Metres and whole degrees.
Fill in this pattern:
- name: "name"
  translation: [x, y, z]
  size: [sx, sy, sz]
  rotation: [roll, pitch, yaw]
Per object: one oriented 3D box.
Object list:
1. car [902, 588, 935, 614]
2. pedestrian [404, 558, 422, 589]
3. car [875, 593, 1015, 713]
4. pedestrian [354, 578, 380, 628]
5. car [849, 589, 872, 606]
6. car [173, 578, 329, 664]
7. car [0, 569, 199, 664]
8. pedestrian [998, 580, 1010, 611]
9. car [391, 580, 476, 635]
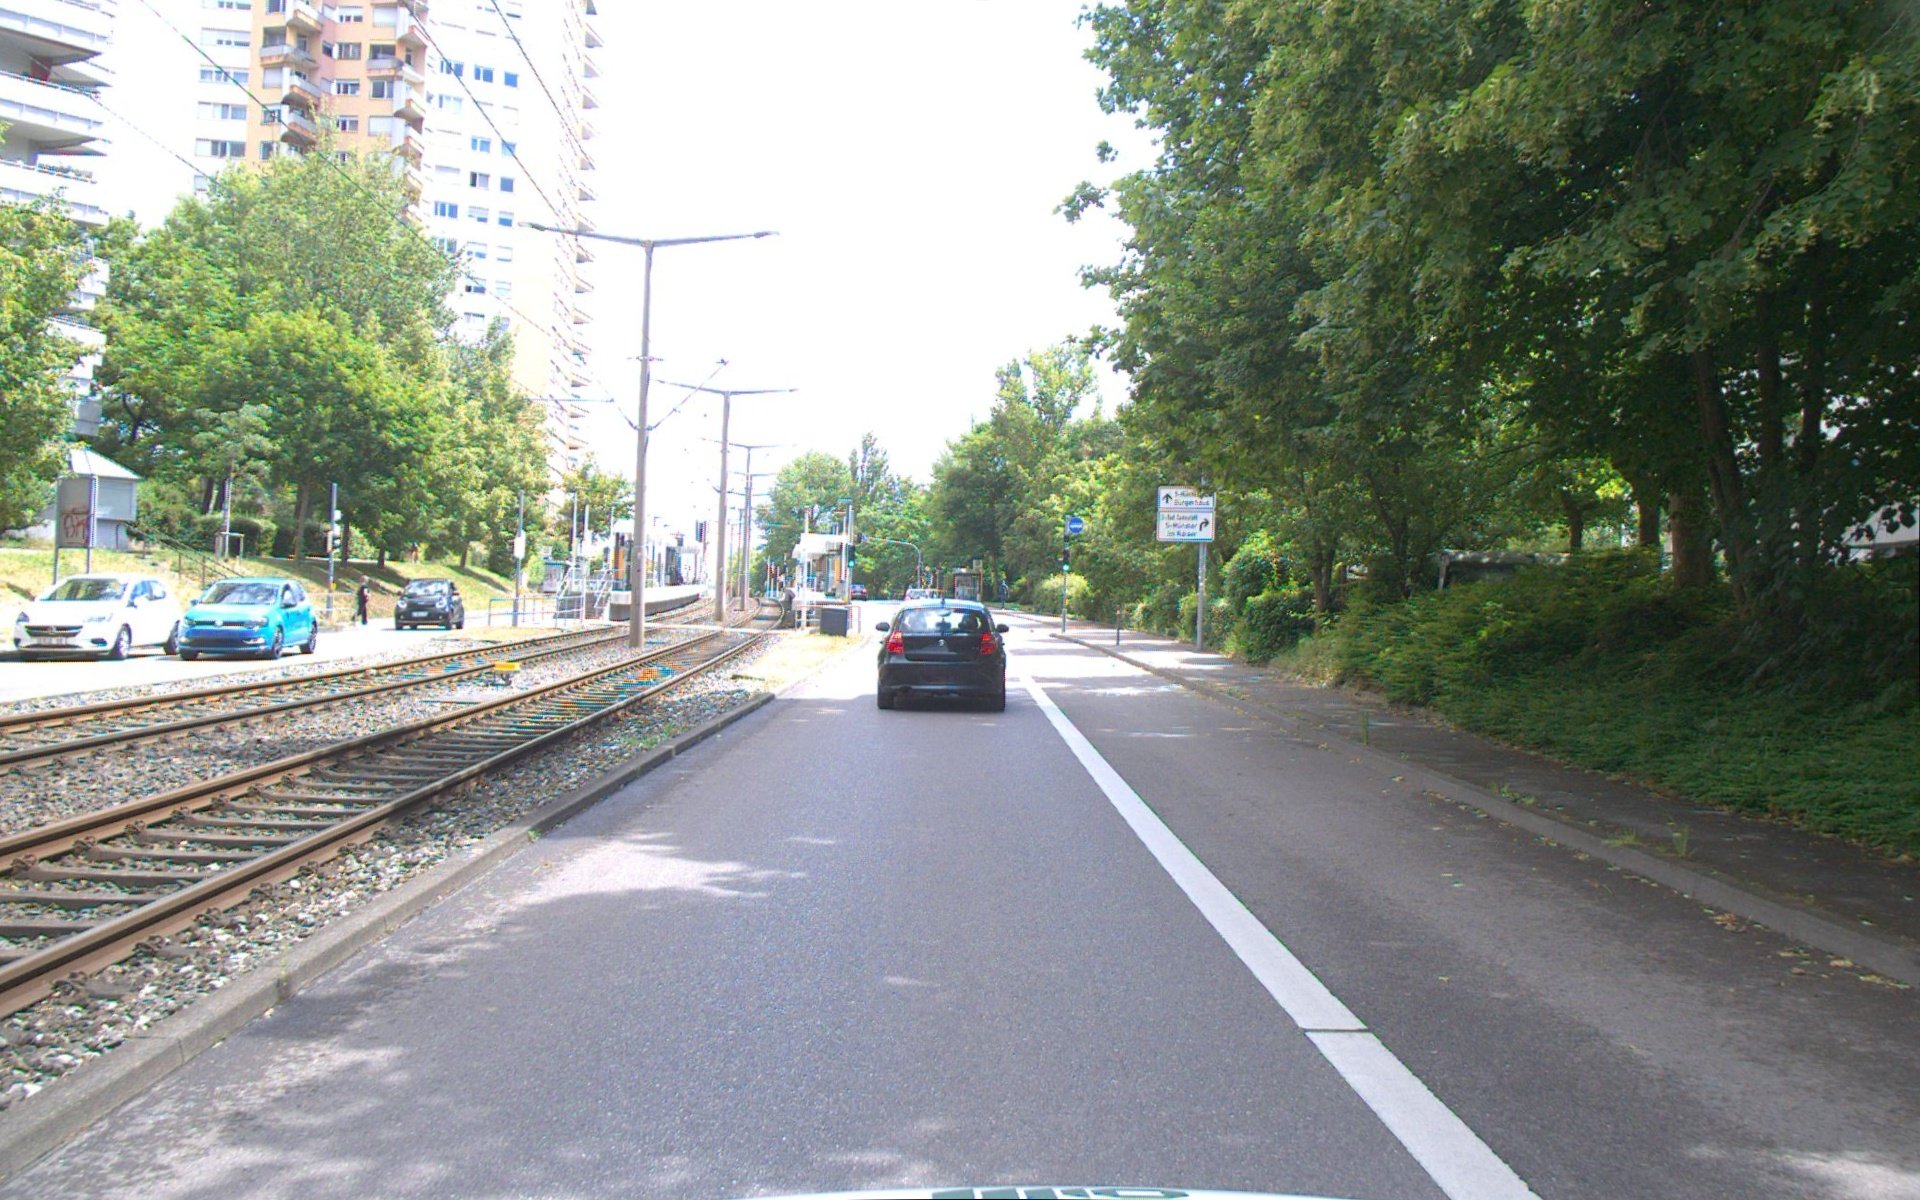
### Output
- name: "car"
  translation: [-2.481, 0.039, 98.520]
  size: [1.746, 1.485, 3.917]
  rotation: [1, 0, -5]
- name: "pedestrian"
  translation: [-27.763, -1.342, 83.932]
  size: [0.620, 1.561, 0.635]
  rotation: [1, 0, 16]
- name: "car"
  translation: [-0.285, 0.656, 22.663]
  size: [1.746, 1.485, 3.919]
  rotation: [0, 0, -3]
- name: "pedestrian"
  translation: [-18.482, 0.092, 51.534]
  size: [0.756, 1.561, 0.713]
  rotation: [1, 0, -20]
- name: "car"
  translation: [-9.039, -0.276, 150.638]
  size: [1.873, 1.485, 3.996]
  rotation: [1, 0, -7]
- name: "car"
  translation: [-13.027, 0.350, 30.607]
  size: [1.684, 1.467, 3.934]
  rotation: [1, 0, -9]
- name: "car"
  translation: [-15.244, 0.262, 29.553]
  size: [1.747, 1.559, 4.238]
  rotation: [0, 0, -6]
- name: "pedestrian"
  translation: [2.884, -0.317, 108.957]
  size: [0.725, 2.049, 0.681]
  rotation: [1, 0, -1]
- name: "car"
  translation: [-16.160, 0.218, 50.942]
  size: [1.682, 1.591, 3.693]
  rotation: [1, 0, -5]
